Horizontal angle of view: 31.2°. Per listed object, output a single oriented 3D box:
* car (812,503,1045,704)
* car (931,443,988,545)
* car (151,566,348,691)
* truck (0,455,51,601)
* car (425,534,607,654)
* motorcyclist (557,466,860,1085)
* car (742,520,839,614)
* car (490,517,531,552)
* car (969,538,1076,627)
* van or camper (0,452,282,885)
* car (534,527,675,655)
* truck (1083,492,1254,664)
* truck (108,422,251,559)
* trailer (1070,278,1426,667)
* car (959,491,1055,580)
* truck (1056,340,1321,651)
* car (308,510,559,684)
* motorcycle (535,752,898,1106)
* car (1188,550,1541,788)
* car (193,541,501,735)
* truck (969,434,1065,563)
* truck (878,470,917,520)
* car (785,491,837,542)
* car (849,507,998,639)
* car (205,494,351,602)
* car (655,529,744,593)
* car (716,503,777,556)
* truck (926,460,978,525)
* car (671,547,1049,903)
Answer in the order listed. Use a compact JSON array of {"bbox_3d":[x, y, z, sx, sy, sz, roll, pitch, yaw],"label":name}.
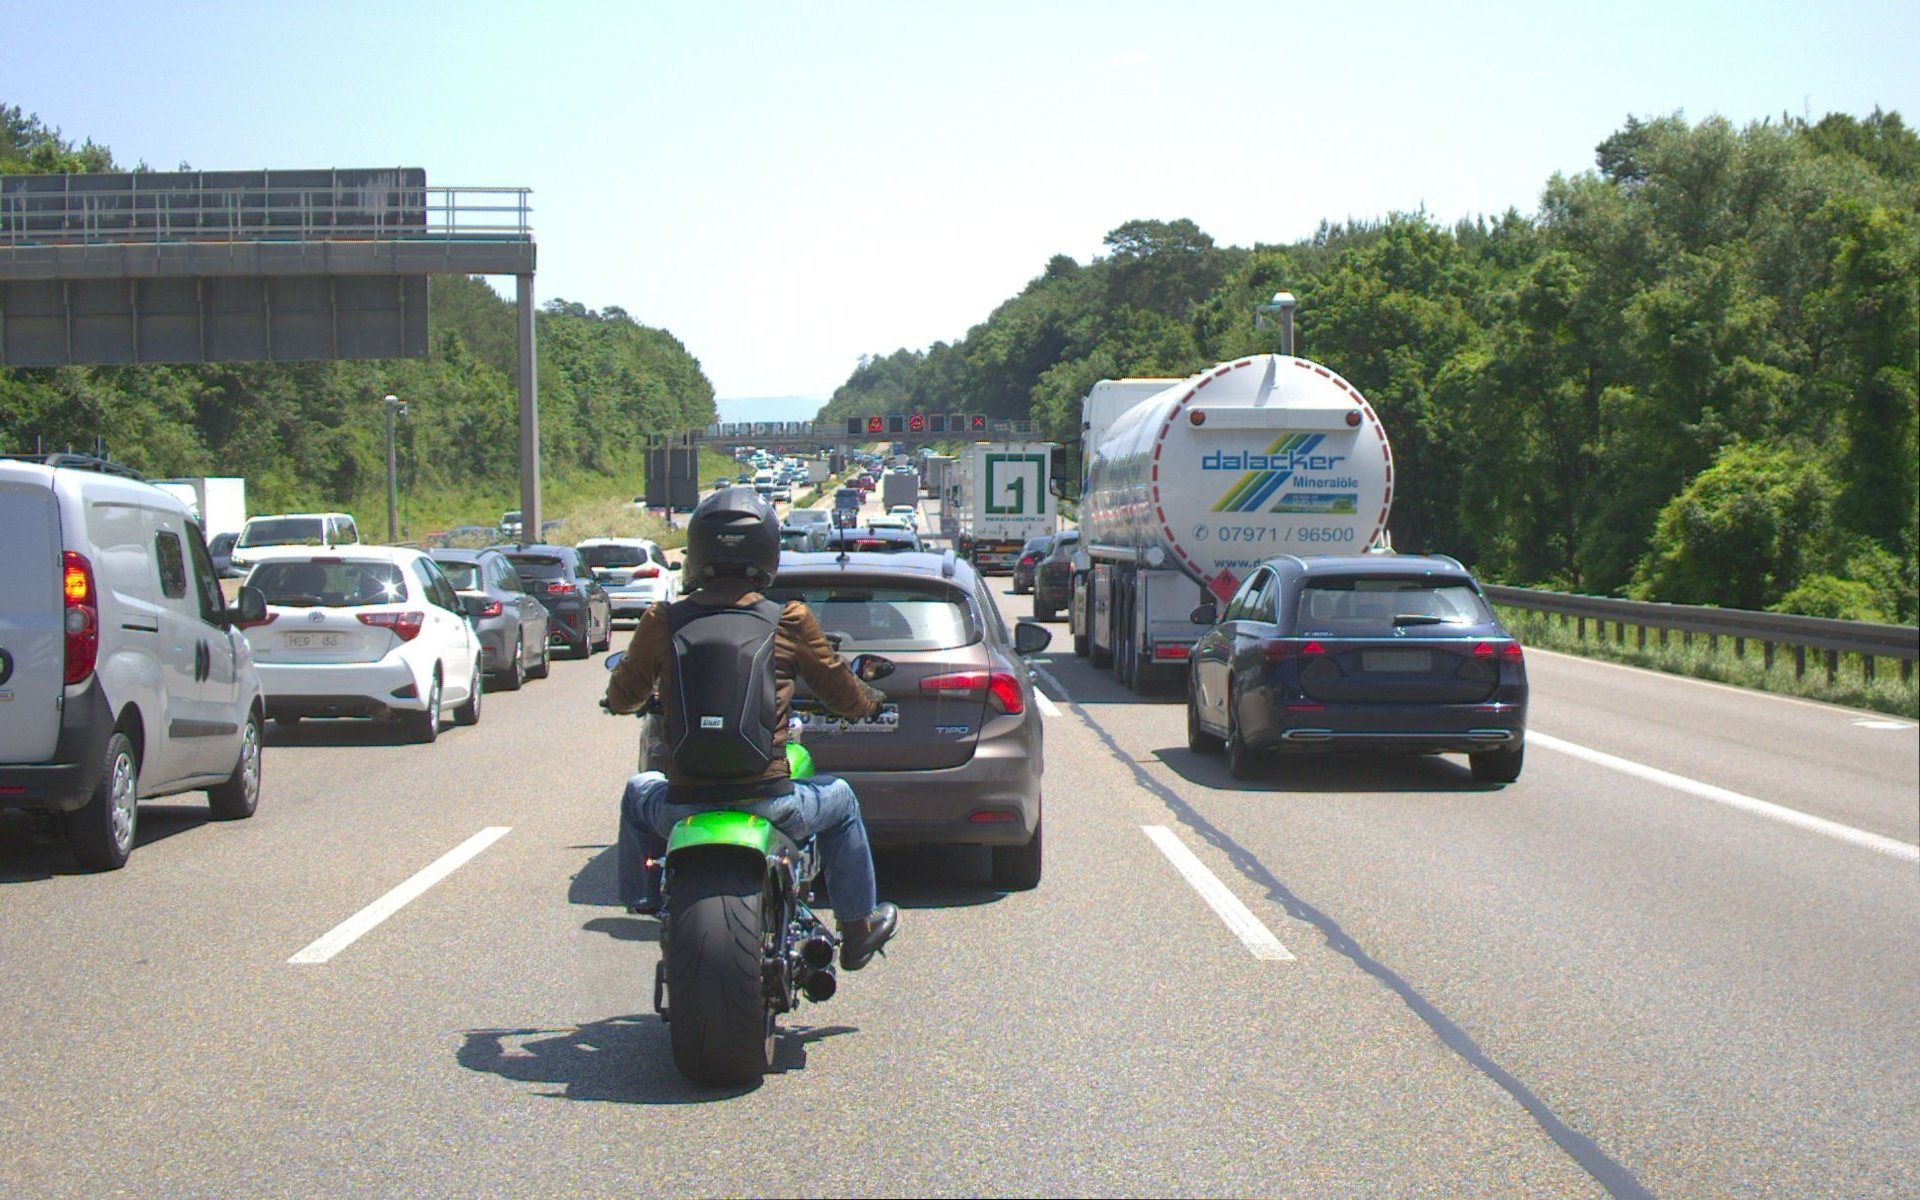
[{"bbox_3d":[-0.329,0.026,31.546,1.993,1.705,4.000,0,0,-2],"label":"car"},{"bbox_3d":[-0.069,-4.282,141.118,2.167,3.879,9.330,0,0,-1],"label":"car"},{"bbox_3d":[-9.124,0.327,44.407,1.824,1.489,4.001,0,1,-2],"label":"car"},{"bbox_3d":[-20.107,-1.434,68.813,2.177,2.875,6.743,0,0,-1],"label":"truck"},{"bbox_3d":[-5.695,-0.078,44.519,1.993,1.459,4.000,0,0,-2],"label":"car"},{"bbox_3d":[-0.701,0.478,9.890,0.799,1.682,1.016,0,0,-1],"label":"motorcyclist"},{"bbox_3d":[-3.717,-0.724,75.961,1.993,2.007,4.000,0,0,-1],"label":"car"},{"bbox_3d":[-26.436,-3.870,202.262,1.900,2.007,4.000,-1,1,-1],"label":"car"},{"bbox_3d":[1.091,-0.302,61.525,1.776,1.522,4.000,0,0,-1],"label":"car"},{"bbox_3d":[-4.728,0.232,17.179,1.853,1.874,4.562,1,1,-1],"label":"van or camper"},{"bbox_3d":[-5.796,-0.146,56.455,1.993,2.007,4.000,0,0,-1],"label":"car"},{"bbox_3d":[3.759,-0.453,63.574,2.388,2.969,8.253,0,1,-2],"label":"truck"},{"bbox_3d":[-24.181,-3.322,106.873,2.692,3.976,7.991,0,0,-1],"label":"truck"},{"bbox_3d":[2.890,-1.216,37.841,2.828,3.658,10.733,0,0,-1],"label":"trailer"},{"bbox_3d":[1.065,-1.473,80.051,1.993,2.007,4.000,0,0,-2],"label":"car"},{"bbox_3d":[2.792,-1.244,43.853,2.828,3.658,6.430,0,0,-1],"label":"truck"},{"bbox_3d":[-5.386,-0.032,35.682,1.993,1.678,4.330,0,0,-1],"label":"car"},{"bbox_3d":[-0.659,0.913,10.156,0.936,0.790,2.299,0,1,-1],"label":"motorcycle"},{"bbox_3d":[2.651,0.419,23.515,1.792,1.453,4.624,0,0,-1],"label":"car"},{"bbox_3d":[-4.768,0.275,27.255,1.776,1.406,4.000,0,0,-1],"label":"car"},{"bbox_3d":[1.838,-3.107,107.276,2.854,3.808,7.187,0,0,2],"label":"truck"},{"bbox_3d":[-4.443,-7.468,246.621,2.696,3.394,10.479,-1,1,-1],"label":"truck"},{"bbox_3d":[-6.086,-3.392,140.670,1.993,2.007,4.000,-1,1,-1],"label":"car"},{"bbox_3d":[-0.549,-0.371,48.406,1.993,1.769,4.000,0,0,-2],"label":"car"},{"bbox_3d":[-13.068,-0.977,66.082,1.993,2.007,4.000,0,0,0],"label":"car"},{"bbox_3d":[-6.005,-0.882,79.537,1.764,1.437,4.000,0,0,0],"label":"car"},{"bbox_3d":[-6.519,-2.141,105.336,1.660,1.594,4.000,0,1,0],"label":"car"},{"bbox_3d":[-0.458,-5.901,189.972,2.696,3.394,10.479,-1,1,-1],"label":"truck"},{"bbox_3d":[-0.440,0.482,16.093,1.541,1.445,4.000,0,1,-1],"label":"car"}]
